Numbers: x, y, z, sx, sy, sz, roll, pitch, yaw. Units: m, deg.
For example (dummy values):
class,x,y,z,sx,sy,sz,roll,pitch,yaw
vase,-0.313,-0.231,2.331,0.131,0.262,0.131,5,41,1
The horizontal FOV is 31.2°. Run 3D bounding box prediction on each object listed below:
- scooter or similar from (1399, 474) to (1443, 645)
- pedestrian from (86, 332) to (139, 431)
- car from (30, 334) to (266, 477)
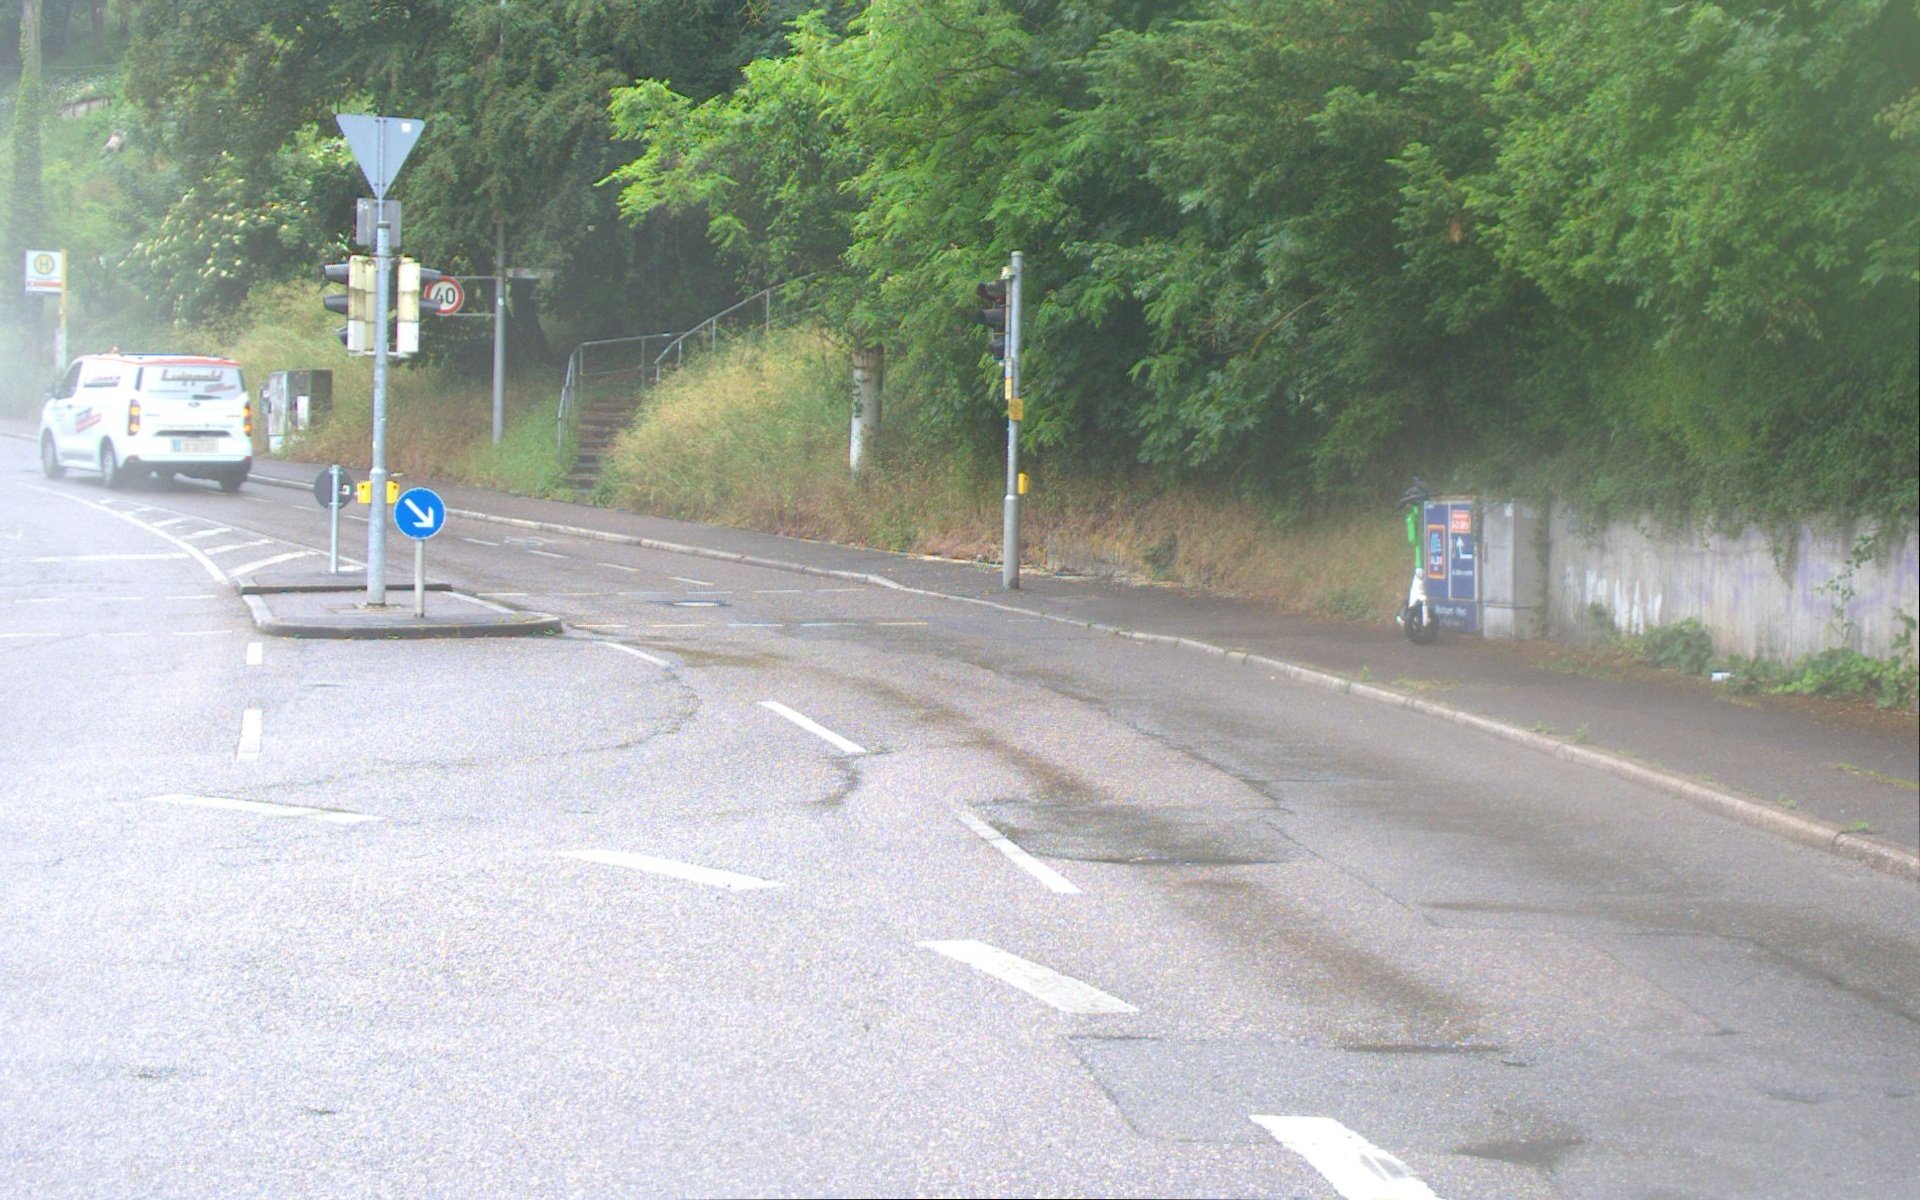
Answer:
class,x,y,z,sx,sy,sz,roll,pitch,yaw
scooter or similar,3.558,-0.320,26.533,0.322,1.275,0.751,0,4,7
pedestrian,-15.462,-3.985,62.732,0.880,1.730,0.866,0,0,-17
car,-12.125,-2.852,51.100,2.066,1.999,4.815,-1,2,-31
